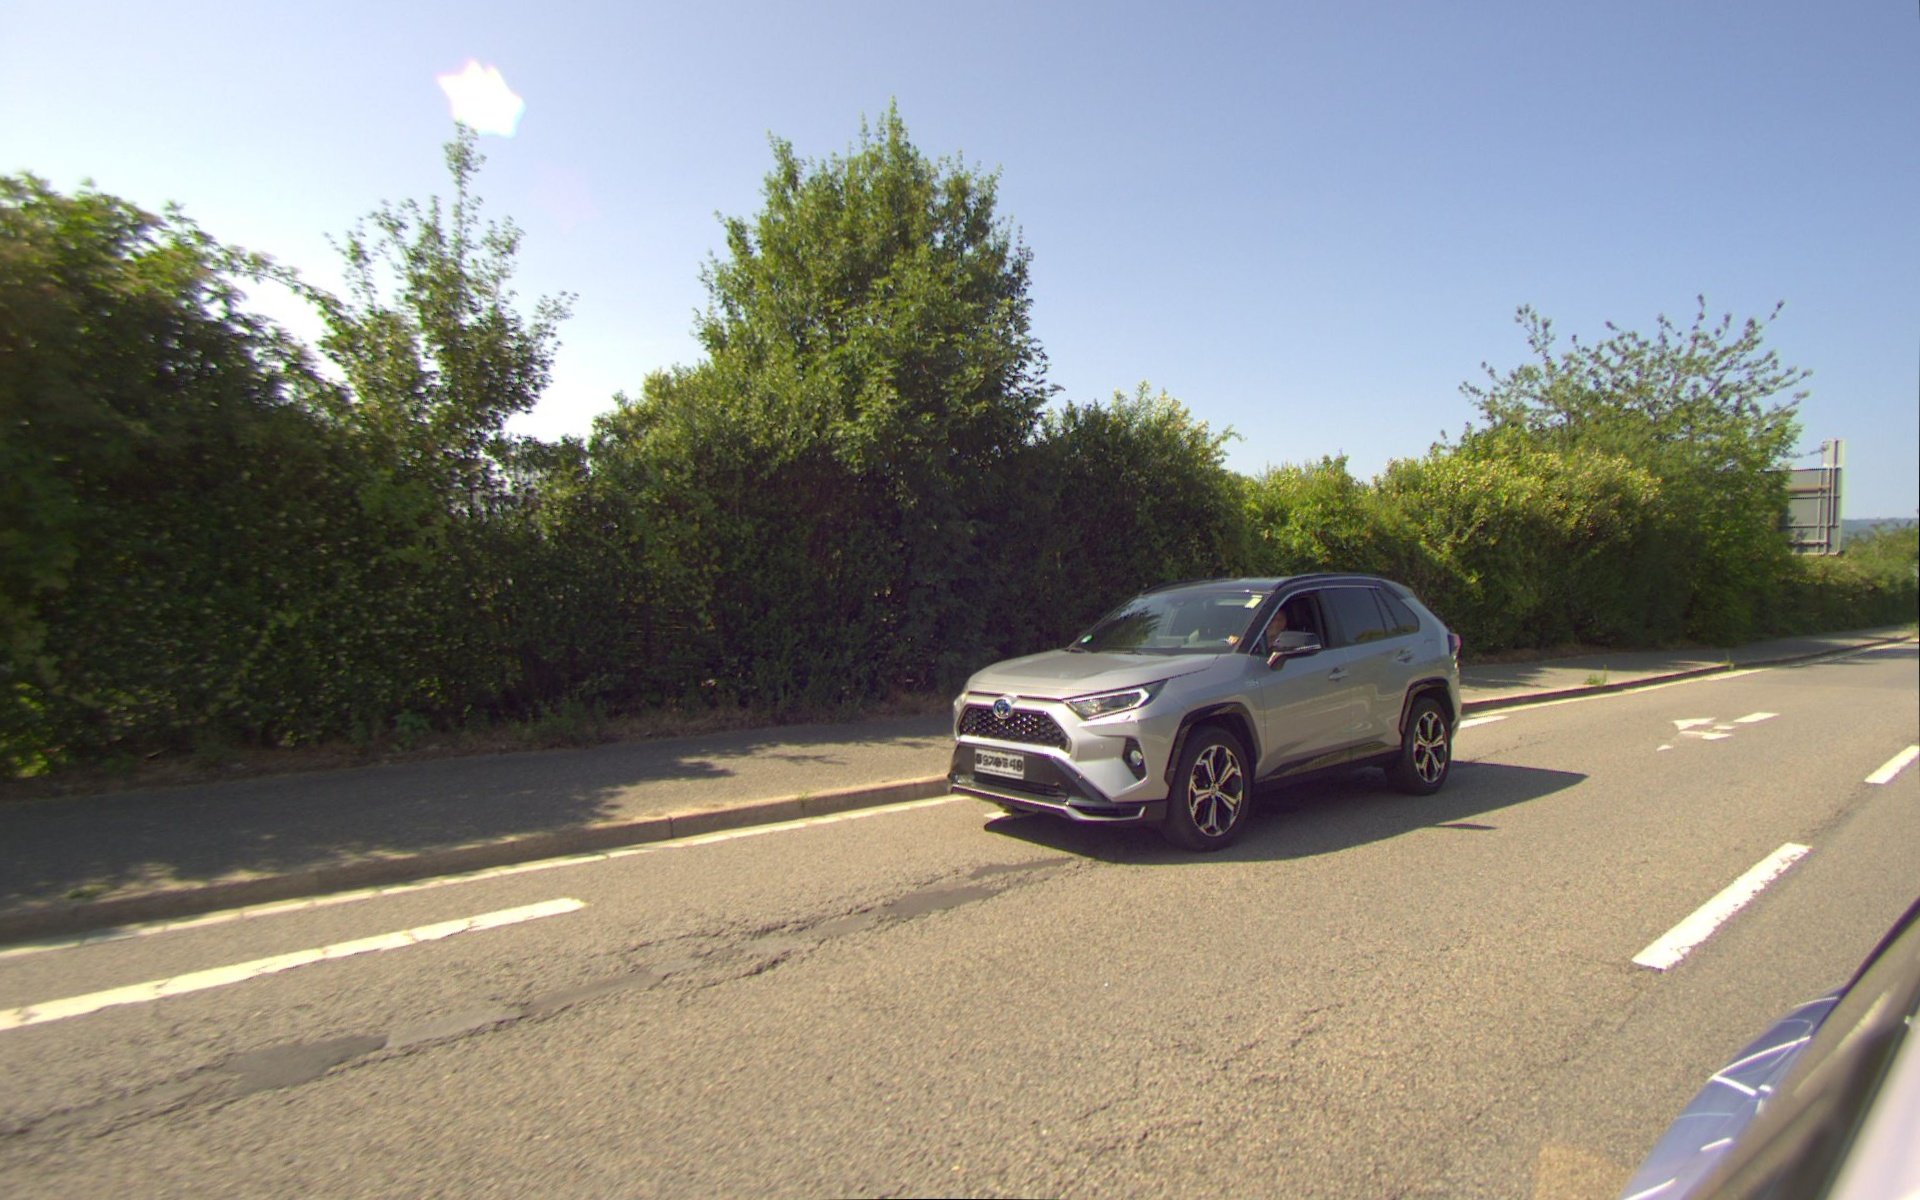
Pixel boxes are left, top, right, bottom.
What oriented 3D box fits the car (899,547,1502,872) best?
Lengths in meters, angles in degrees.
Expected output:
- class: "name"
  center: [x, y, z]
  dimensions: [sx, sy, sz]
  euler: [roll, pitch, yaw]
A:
- class: "car"
  center: [1.981, 0.575, 7.497]
  dimensions: [4.598, 1.701, 1.906]
  euler: [-1, -1, -39]
